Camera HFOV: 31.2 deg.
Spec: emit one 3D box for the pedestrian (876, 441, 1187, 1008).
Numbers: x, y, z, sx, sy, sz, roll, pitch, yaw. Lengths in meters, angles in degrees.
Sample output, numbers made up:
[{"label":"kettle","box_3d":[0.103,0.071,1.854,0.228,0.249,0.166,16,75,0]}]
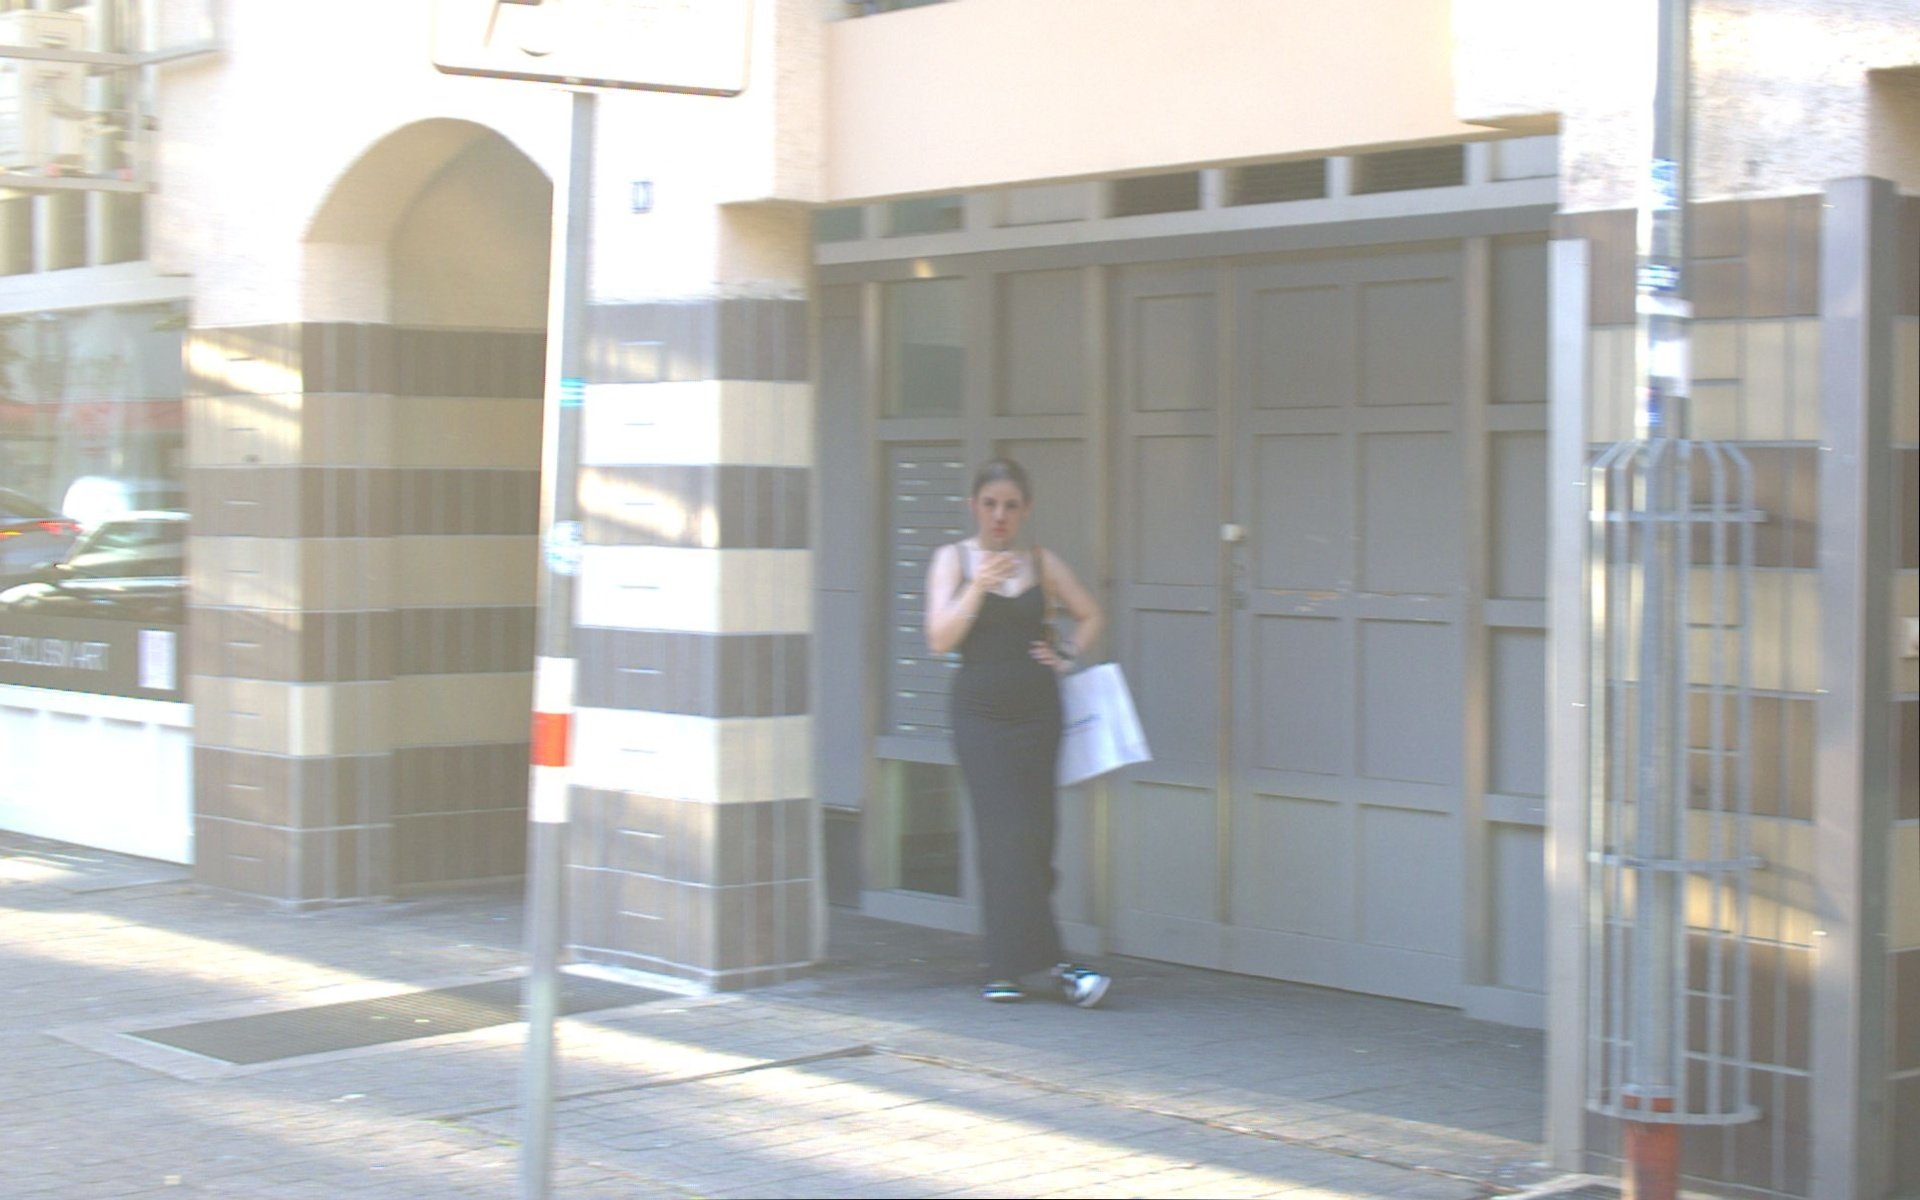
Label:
[{"label":"pedestrian","box_3d":[0.196,0.337,9.819,0.776,1.567,0.534,0,2,-12]}]
